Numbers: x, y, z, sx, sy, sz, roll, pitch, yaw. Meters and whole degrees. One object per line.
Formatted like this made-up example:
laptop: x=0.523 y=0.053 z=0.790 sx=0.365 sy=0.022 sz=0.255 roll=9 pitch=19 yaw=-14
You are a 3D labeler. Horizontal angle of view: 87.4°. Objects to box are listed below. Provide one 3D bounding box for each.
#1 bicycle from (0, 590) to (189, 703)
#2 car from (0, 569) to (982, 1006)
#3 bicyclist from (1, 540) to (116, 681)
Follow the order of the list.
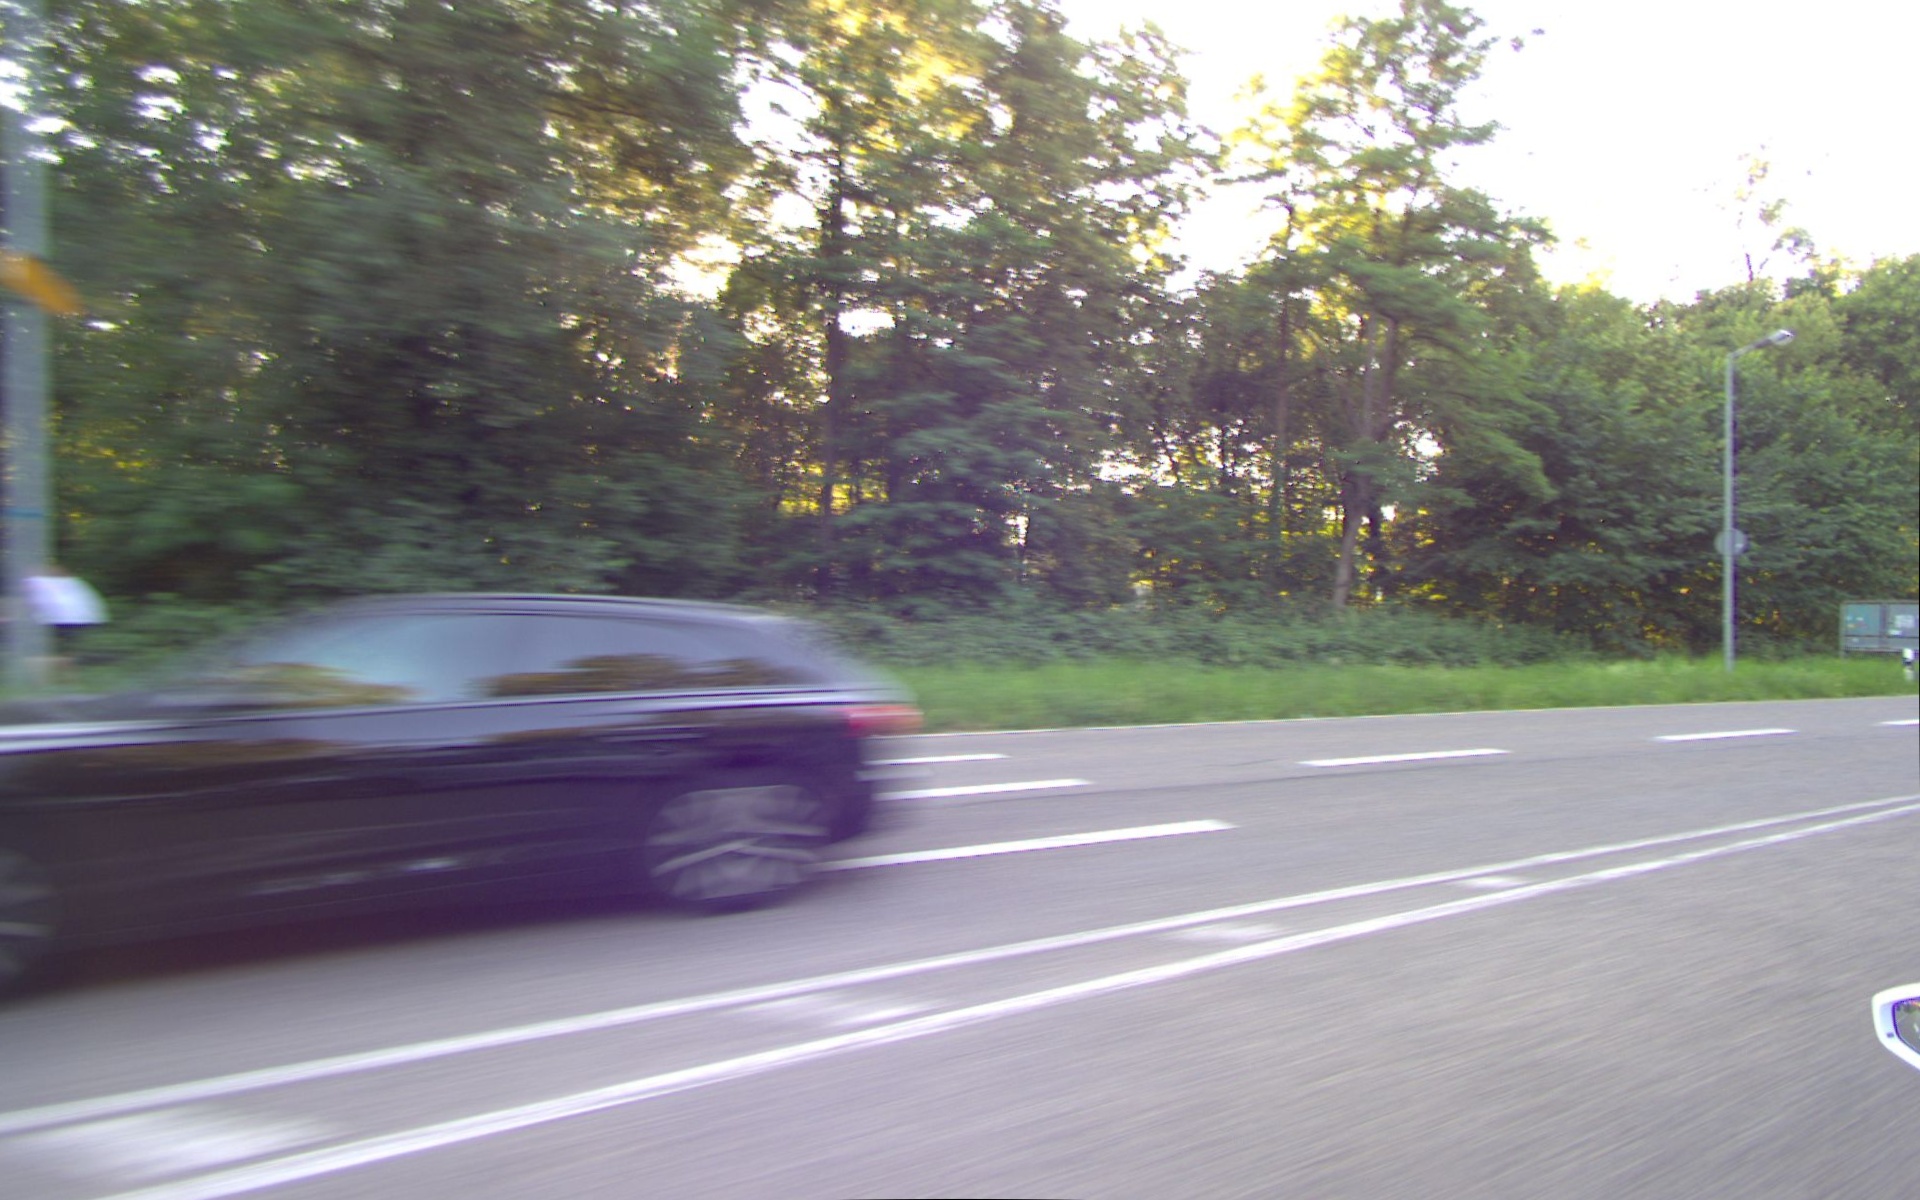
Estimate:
bicycle: x=-10.185 y=0.515 z=11.362 sx=2.234 sy=1.234 sz=0.627 roll=1 pitch=-1 yaw=-29
car: x=-2.398 y=0.644 z=4.912 sx=4.713 sy=1.460 sz=1.883 roll=1 pitch=1 yaw=-30
bicyclist: x=-10.171 y=0.119 z=11.368 sx=0.837 sy=1.531 sz=0.617 roll=0 pitch=-1 yaw=-28
